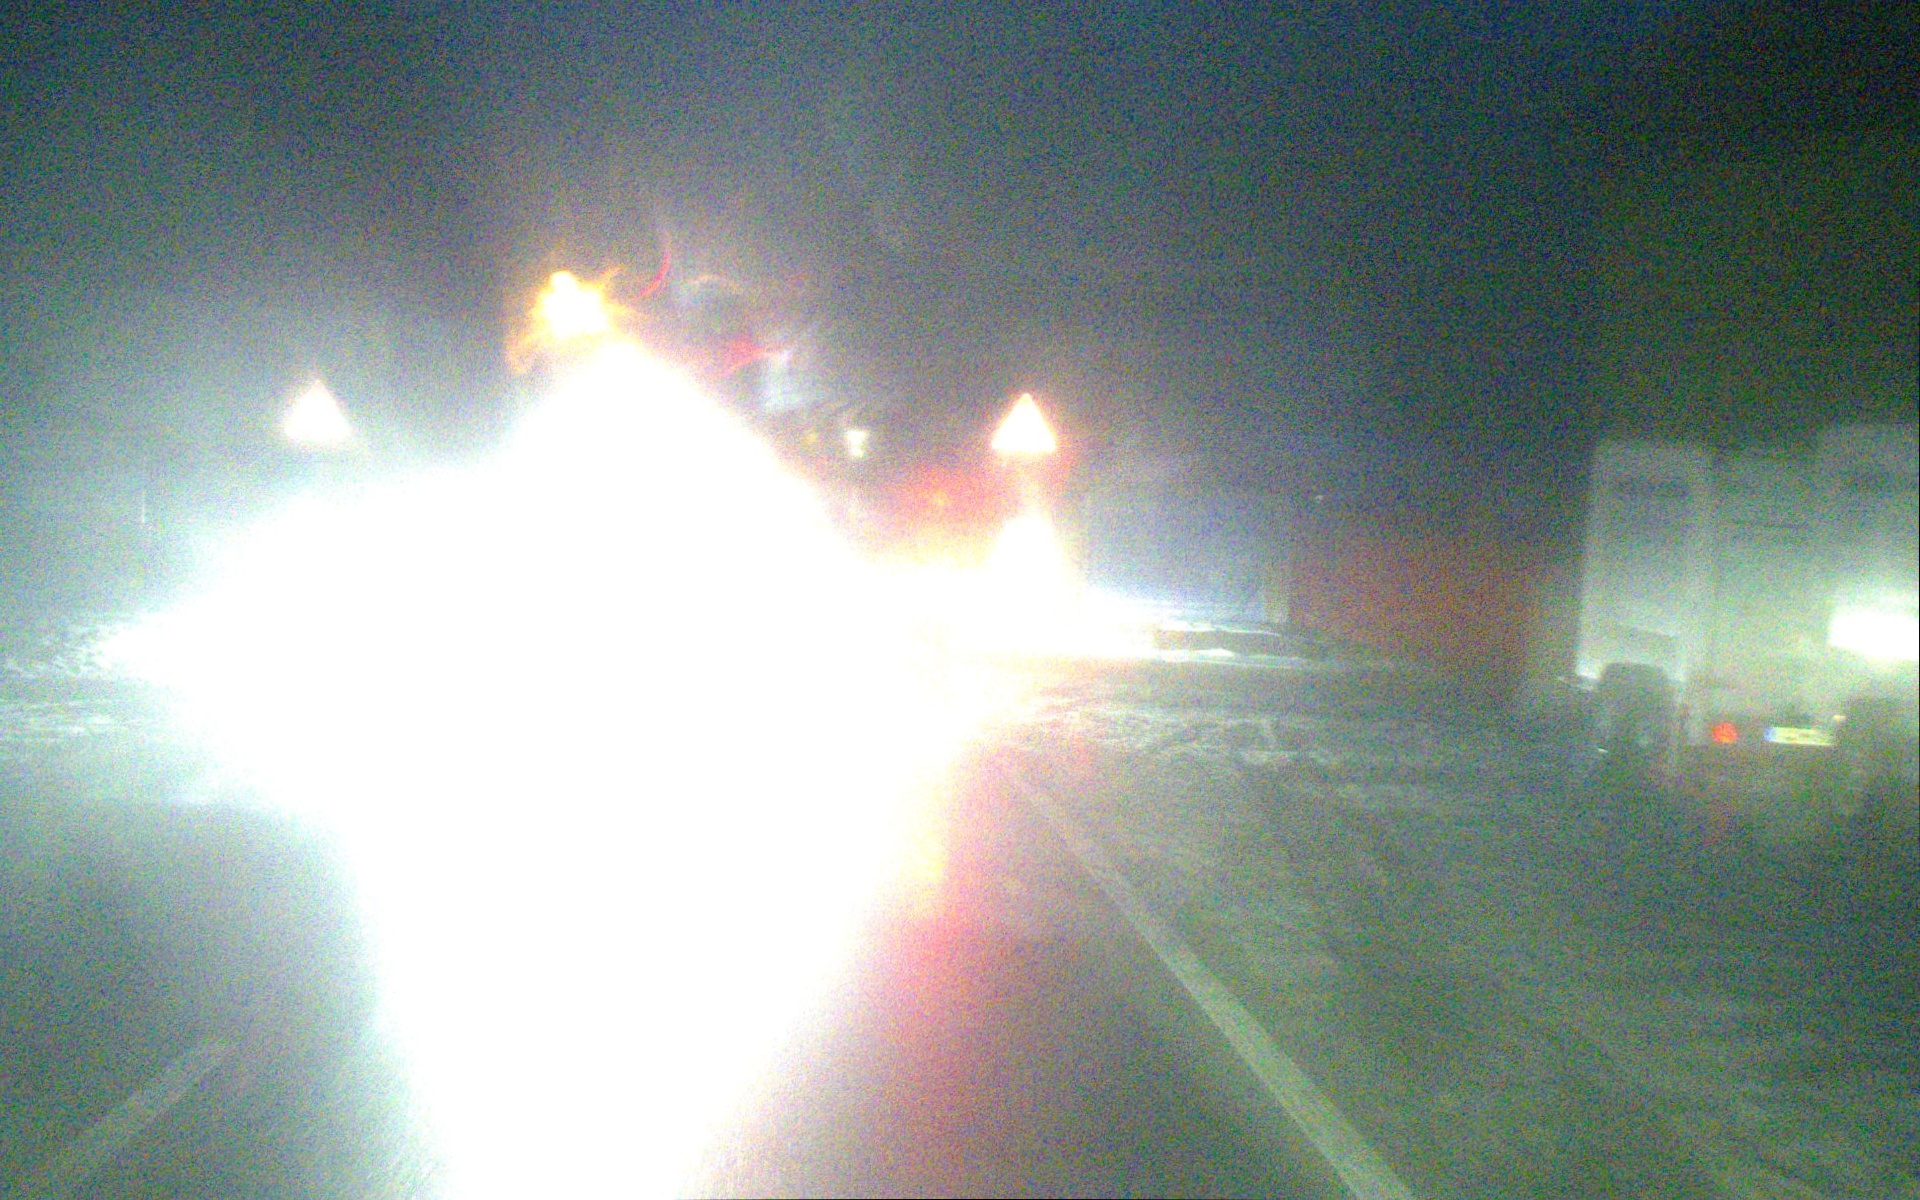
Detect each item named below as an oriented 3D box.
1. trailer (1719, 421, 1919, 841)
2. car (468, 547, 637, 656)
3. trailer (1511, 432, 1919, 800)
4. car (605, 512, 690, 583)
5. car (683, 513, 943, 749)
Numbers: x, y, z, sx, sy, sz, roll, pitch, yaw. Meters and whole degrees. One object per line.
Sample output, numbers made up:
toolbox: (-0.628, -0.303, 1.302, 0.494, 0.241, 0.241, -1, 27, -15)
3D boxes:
trailer: (6.083, 0.191, 20.658, 1.605, 2.344, 4.432, 4, 1, -4)
car: (-5.746, -0.011, 49.026, 1.993, 1.455, 4.899, 1, 1, -2)
trailer: (5.535, 0.058, 25.444, 1.630, 2.356, 4.654, 4, 1, -5)
car: (-7.244, -1.239, 79.899, 1.801, 1.504, 3.616, 3, 1, -4)
car: (-1.159, 0.183, 26.591, 1.801, 1.623, 3.616, 3, 1, -3)
